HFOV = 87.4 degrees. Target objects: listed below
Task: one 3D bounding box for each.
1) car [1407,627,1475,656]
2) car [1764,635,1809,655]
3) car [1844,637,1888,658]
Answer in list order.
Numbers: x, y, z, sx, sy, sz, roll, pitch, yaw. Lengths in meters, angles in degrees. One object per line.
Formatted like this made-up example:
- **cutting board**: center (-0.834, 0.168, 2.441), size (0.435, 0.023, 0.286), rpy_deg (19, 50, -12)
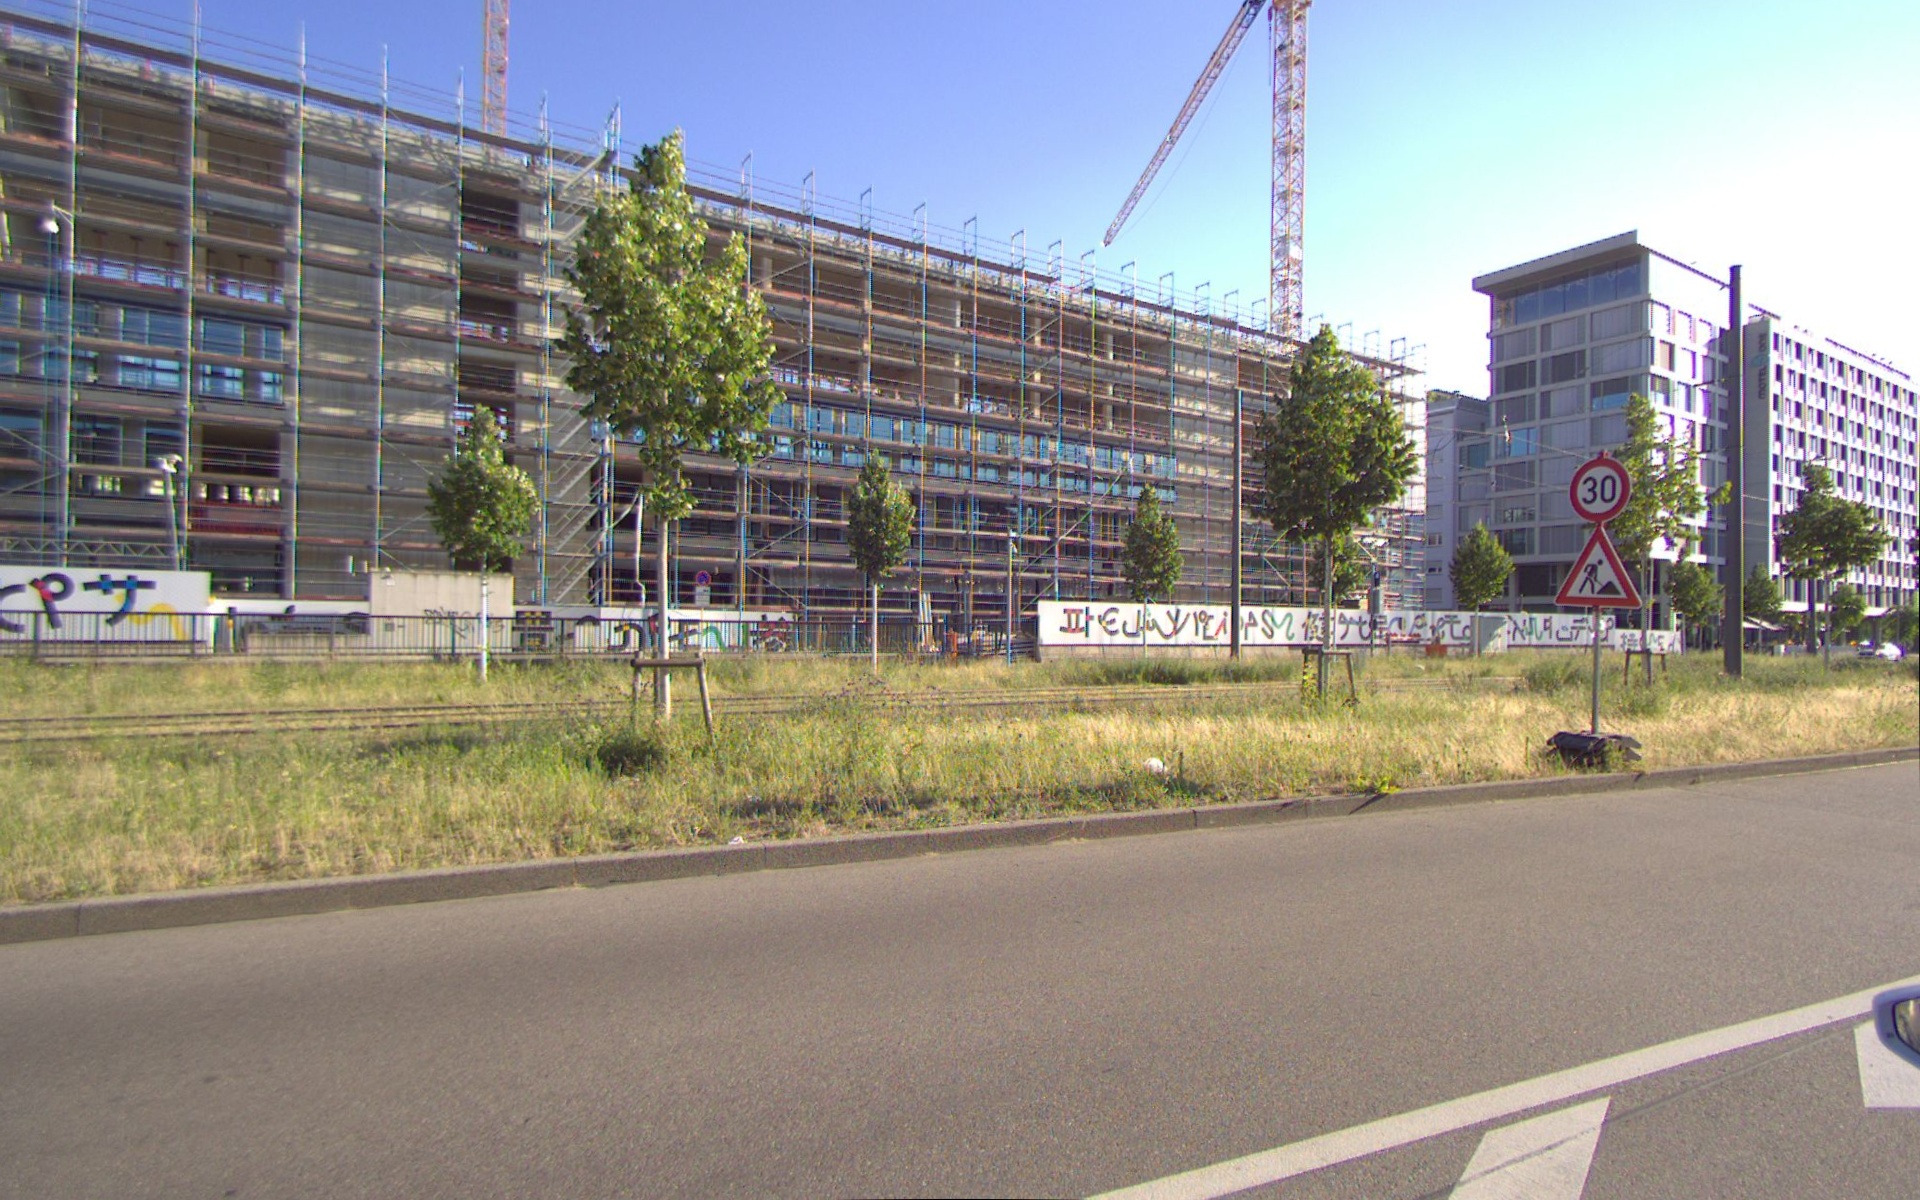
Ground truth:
- **car**: center (26.097, 2.236, 54.443), size (3.543, 1.461, 1.699), rpy_deg (2, 0, -32)
- **car**: center (65.000, 3.535, 78.955), size (3.543, 1.461, 1.699), rpy_deg (2, 0, -32)
- **car**: center (70.848, 3.713, 78.543), size (3.543, 1.461, 1.699), rpy_deg (2, 0, -32)
